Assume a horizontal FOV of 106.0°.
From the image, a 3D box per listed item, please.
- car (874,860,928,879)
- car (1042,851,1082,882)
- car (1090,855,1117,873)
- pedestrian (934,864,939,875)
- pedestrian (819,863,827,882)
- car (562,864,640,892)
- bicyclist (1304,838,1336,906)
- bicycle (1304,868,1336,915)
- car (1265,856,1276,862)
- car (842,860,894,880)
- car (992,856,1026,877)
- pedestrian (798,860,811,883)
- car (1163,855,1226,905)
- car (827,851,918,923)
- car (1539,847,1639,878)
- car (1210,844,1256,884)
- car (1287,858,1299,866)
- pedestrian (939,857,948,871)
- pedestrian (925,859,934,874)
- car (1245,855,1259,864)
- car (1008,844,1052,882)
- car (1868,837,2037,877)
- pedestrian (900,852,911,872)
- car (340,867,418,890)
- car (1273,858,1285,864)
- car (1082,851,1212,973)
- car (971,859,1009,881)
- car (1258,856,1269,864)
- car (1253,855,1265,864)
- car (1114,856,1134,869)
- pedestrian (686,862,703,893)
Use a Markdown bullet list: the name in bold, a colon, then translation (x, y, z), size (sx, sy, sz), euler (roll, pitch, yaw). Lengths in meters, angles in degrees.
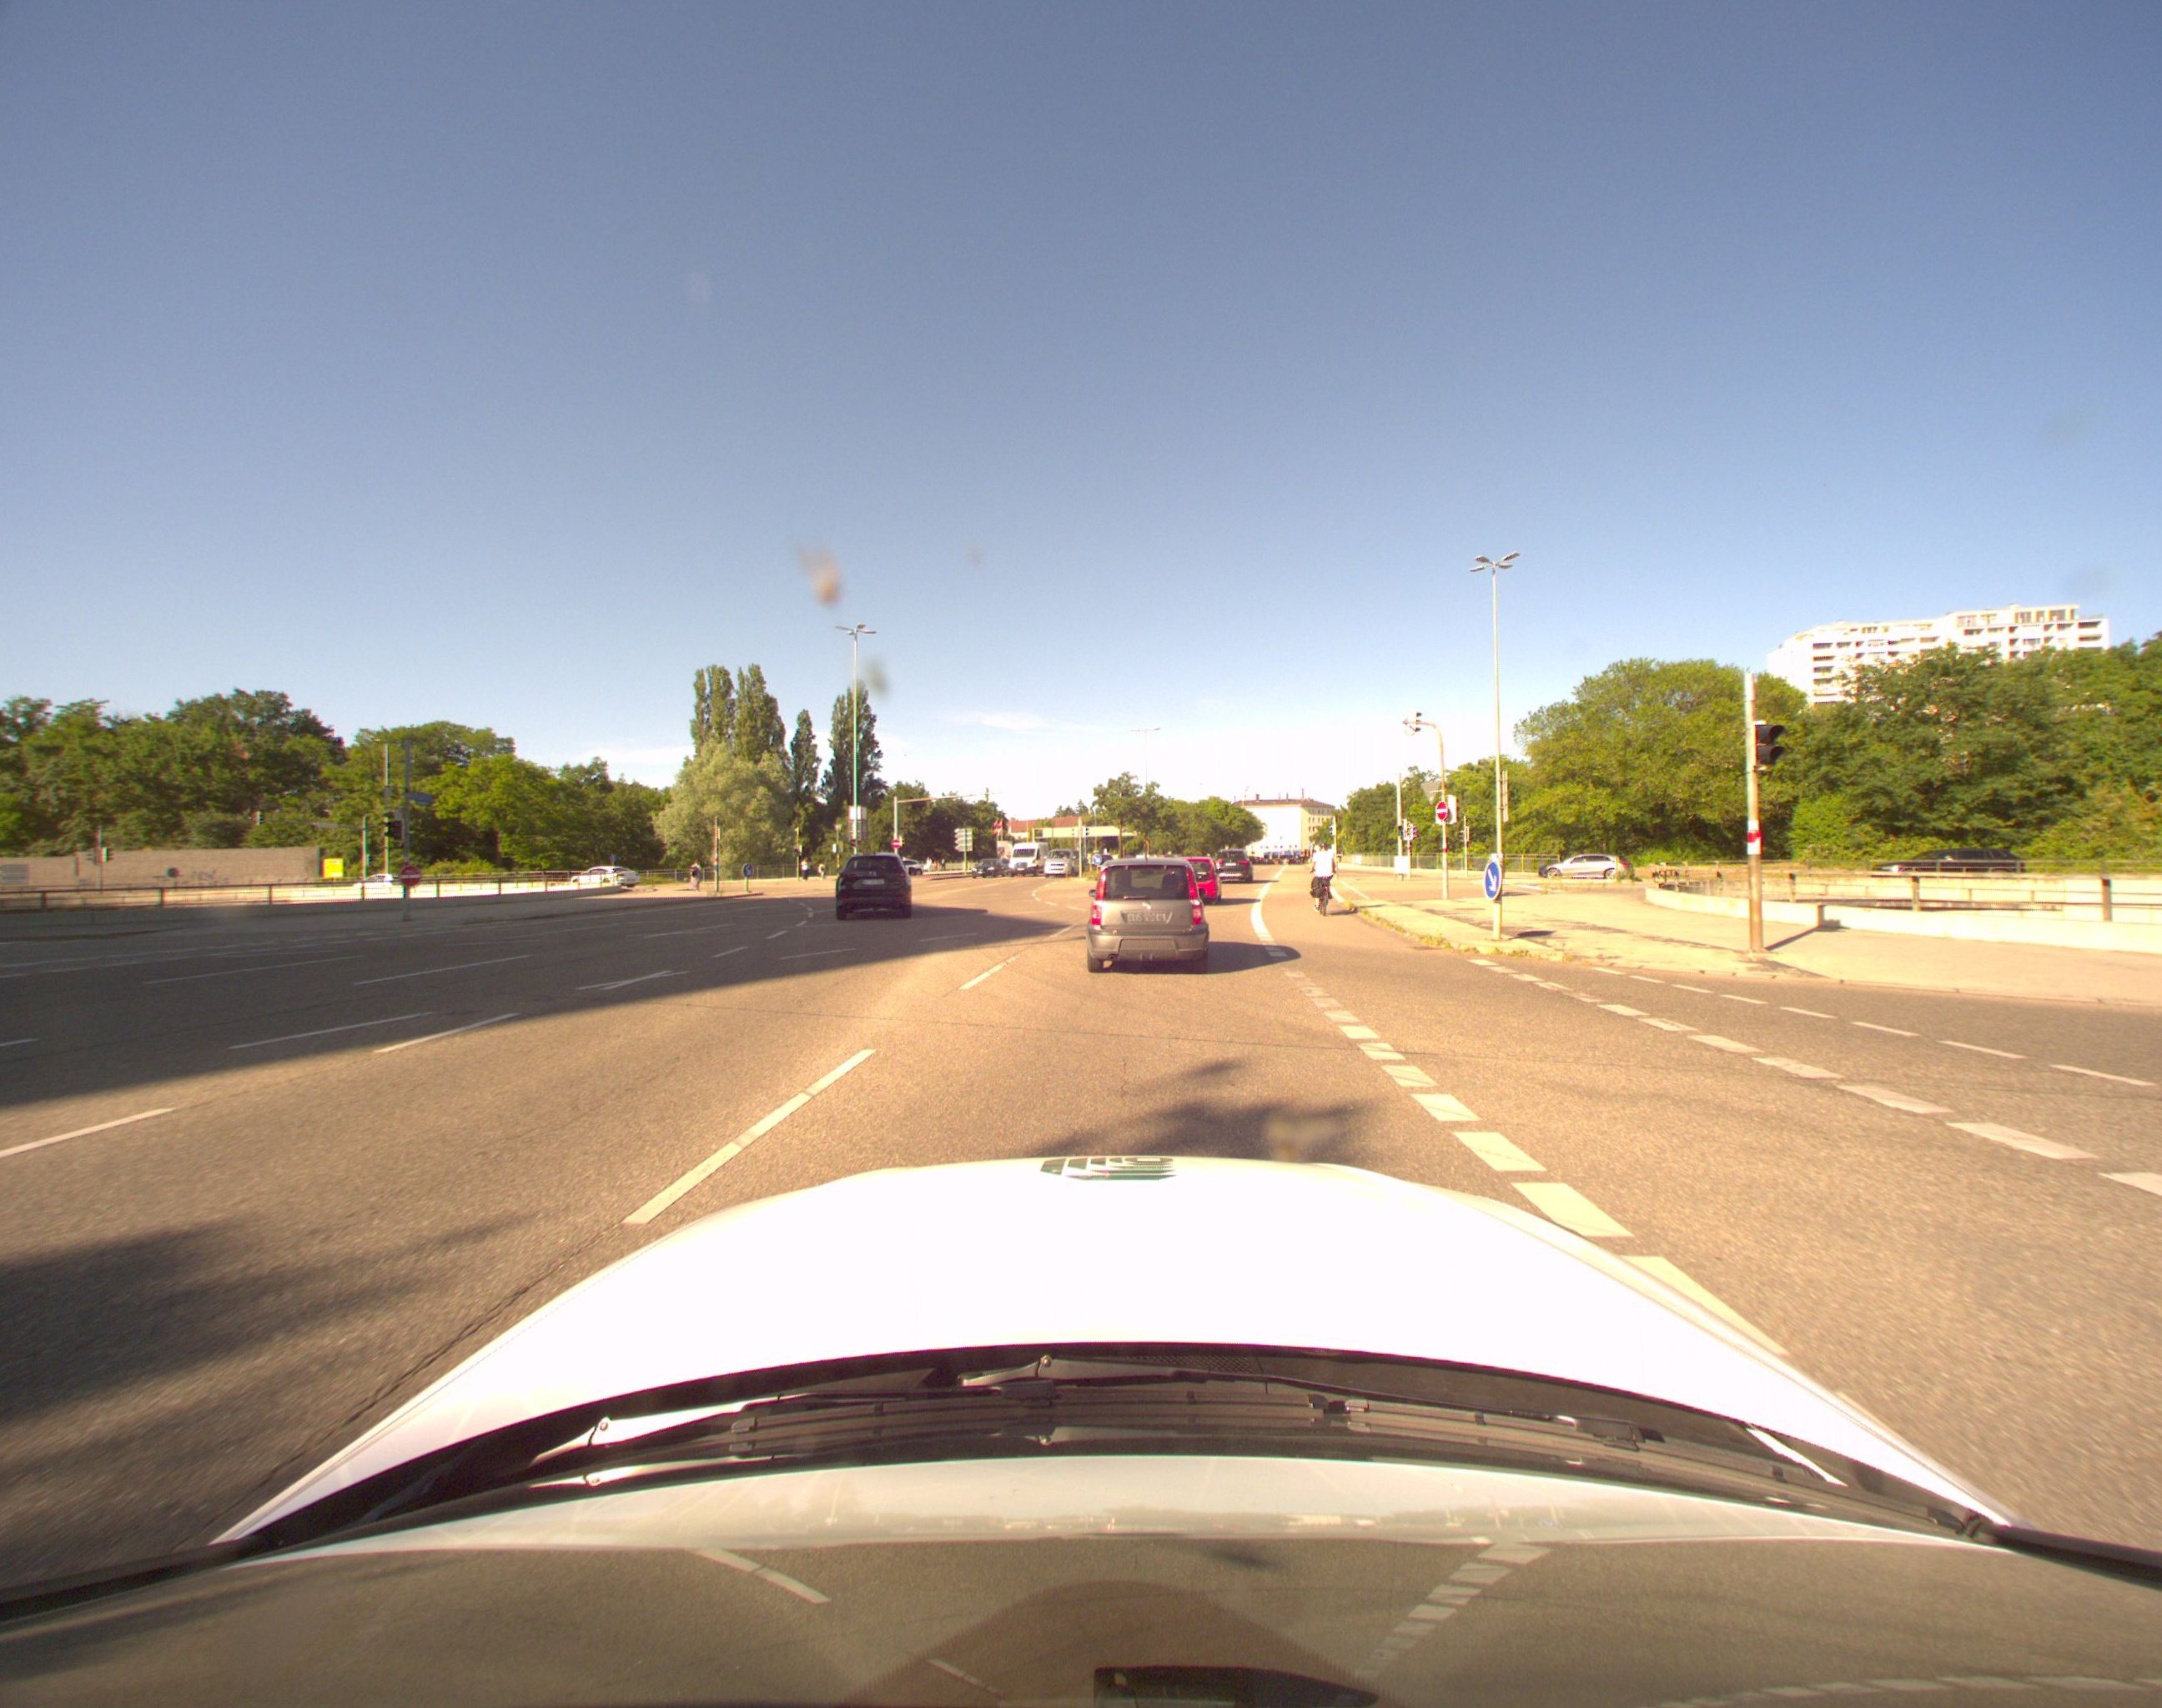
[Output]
- **car**: translation (-15.112, 1.270, 68.510), size (1.762, 1.535, 4.356), euler (0, 0, 37)
- **car**: translation (-1.282, 0.811, 56.300), size (1.926, 2.008, 4.943), euler (-1, 0, 8)
- **car**: translation (2.199, 0.931, 78.375), size (1.925, 1.622, 4.517), euler (-1, 0, 9)
- **pedestrian**: translation (-15.468, 1.635, 87.177), size (0.420, 1.136, 0.399), euler (0, -2, 13)
- **pedestrian**: translation (-21.481, 1.562, 67.756), size (0.559, 1.547, 0.571), euler (-1, -2, -28)
- **car**: translation (-30.247, 1.516, 51.338), size (4.268, 1.414, 1.796), euler (-3, 2, 20)
- **bicyclist**: translation (6.008, 0.440, 20.515), size (0.719, 1.659, 1.117), euler (0, 0, 14)
- **bicycle**: translation (6.003, 0.922, 20.515), size (0.686, 1.102, 1.833), euler (0, 0, 14)
- **car**: translation (45.689, 1.244, 196.275), size (1.927, 1.528, 4.121), euler (-1, 0, 25)
- **car**: translation (-18.338, 1.400, 70.278), size (1.876, 1.625, 4.024), euler (-1, -3, 39)
- **car**: translation (-5.833, 1.019, 66.645), size (1.801, 1.541, 4.626), euler (-2, 0, 7)
- **pedestrian**: translation (-18.759, 1.200, 55.221), size (0.713, 1.547, 0.722), euler (-1, -1, -28)
- **car**: translation (3.688, 0.773, 26.006), size (1.606, 1.463, 3.764), euler (-1, 0, 13)
- **car**: translation (-5.402, 0.801, 21.572), size (1.873, 1.709, 4.184), euler (-1, 0, -9)
- **car**: translation (26.627, 0.455, 42.764), size (4.191, 1.552, 1.872), euler (-1, 0, 42)
- **car**: translation (7.942, 0.530, 42.287), size (1.931, 1.840, 4.169), euler (-3, -2, 15)
- **car**: translation (50.152, 1.967, 192.740), size (1.848, 1.681, 3.932), euler (-1, -2, 28)
- **pedestrian**: translation (-15.777, 1.155, 93.451), size (0.664, 1.503, 0.784), euler (-1, -3, 27)
- **pedestrian**: translation (-16.252, 1.372, 87.479), size (0.715, 1.641, 0.675), euler (0, -2, 13)
- **car**: translation (28.118, 0.879, 134.142), size (1.930, 1.528, 4.114), euler (-1, 0, 16)
- **car**: translation (-3.636, 0.609, 59.403), size (1.926, 2.576, 6.102), euler (-1, 0, 8)
- **car**: translation (37.512, 0.143, 35.211), size (4.621, 1.616, 1.871), euler (-1, 0, 23)
- **pedestrian**: translation (-17.649, 0.816, 81.996), size (0.800, 1.997, 0.790), euler (0, -2, 13)
- **car**: translation (-49.048, 1.682, 56.953), size (3.963, 1.508, 2.005), euler (-1, 0, 9)
- **car**: translation (50.063, 1.739, 206.197), size (1.926, 1.528, 4.123), euler (-1, 0, 30)
- **car**: translation (0.997, 0.737, 12.118), size (1.610, 1.515, 3.825), euler (-1, 0, 5)
- **car**: translation (-6.630, 1.159, 59.974), size (1.927, 1.507, 4.006), euler (-2, 0, 5)
- **car**: translation (38.740, 1.268, 172.616), size (1.930, 1.528, 4.115), euler (-1, 0, 17)
- **car**: translation (32.334, 0.941, 147.938), size (1.930, 1.528, 4.115), euler (-1, 0, 16)
- **car**: translation (5.386, 1.045, 100.651), size (1.925, 1.622, 4.517), euler (-1, 0, 9)
- **pedestrian**: translation (-18.954, 1.145, 39.926), size (0.681, 1.463, 0.698), euler (-1, -1, -18)
